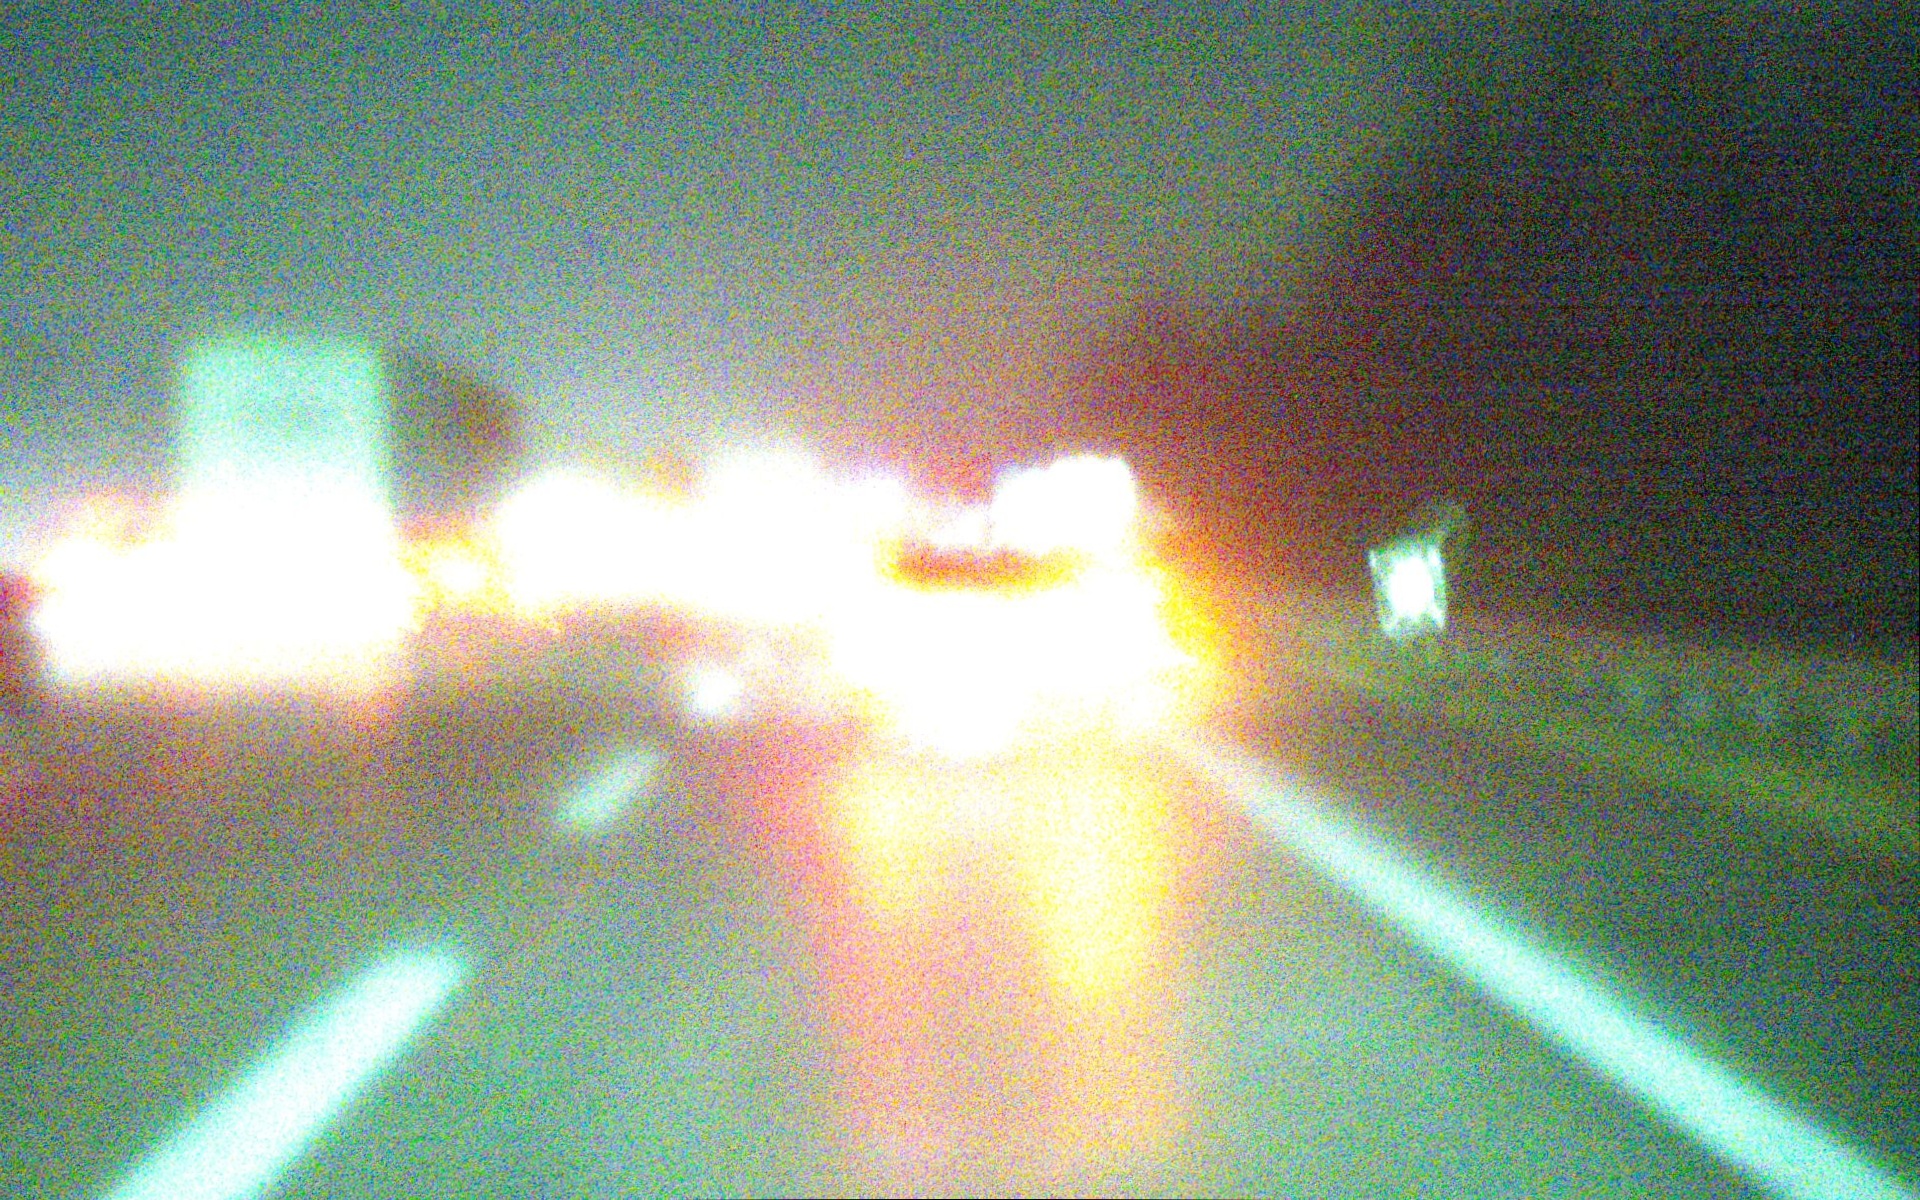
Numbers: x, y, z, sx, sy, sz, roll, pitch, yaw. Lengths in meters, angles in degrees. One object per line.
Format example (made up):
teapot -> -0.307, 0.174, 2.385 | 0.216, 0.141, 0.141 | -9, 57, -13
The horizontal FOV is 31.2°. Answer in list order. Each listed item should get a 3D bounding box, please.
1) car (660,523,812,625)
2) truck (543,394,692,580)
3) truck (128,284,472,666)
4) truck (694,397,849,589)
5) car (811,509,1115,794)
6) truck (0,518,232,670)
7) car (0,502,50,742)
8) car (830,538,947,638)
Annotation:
car -> -4.643, -0.570, 72.219 | 2.833, 2.007, 5.510 | 1, 1, 0
truck -> -10.525, -3.424, 106.901 | 4.253, 5.425, 10.886 | 1, 1, -4
truck -> -8.974, -1.643, 48.060 | 3.655, 4.721, 9.854 | 1, 1, -5
truck -> -5.487, -3.006, 99.316 | 4.161, 5.197, 9.955 | 1, 1, -3
car -> 0.015, 0.295, 23.563 | 1.878, 1.756, 4.000 | 1, 1, 0
truck -> -13.138, -0.131, 53.397 | 2.856, 2.193, 5.860 | 1, 1, -5
car -> -8.011, 0.149, 24.912 | 2.038, 1.755, 4.517 | 1, 1, -6
car -> -1.268, -0.242, 61.693 | 1.993, 1.698, 4.459 | 1, 1, -1
